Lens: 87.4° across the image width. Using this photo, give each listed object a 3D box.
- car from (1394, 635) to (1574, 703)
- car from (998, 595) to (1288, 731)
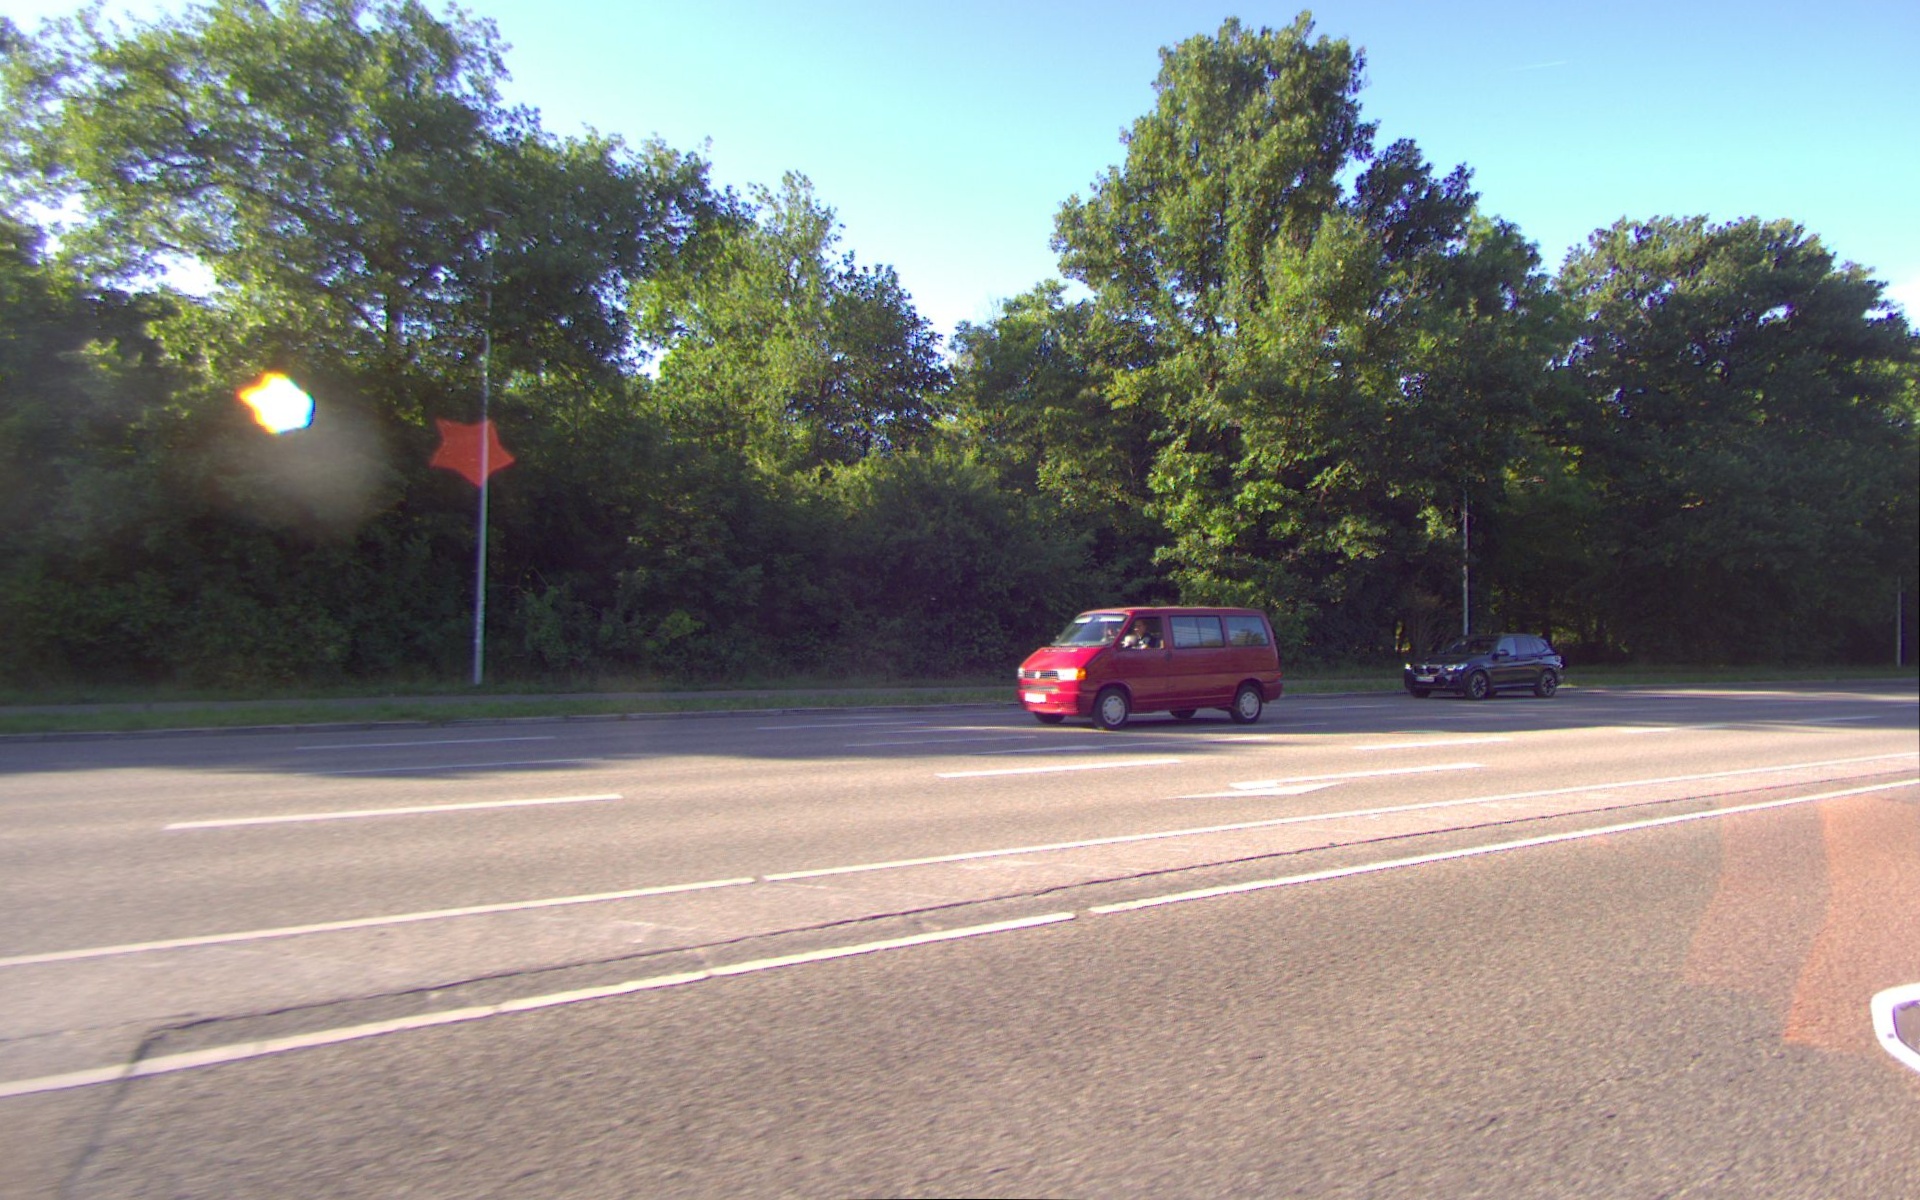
[{"bbox_3d":[13.821,1.764,26.445,4.787,1.658,1.984,2,-2,-30],"label":"car"},{"bbox_3d":[3.080,1.036,16.703,4.594,1.987,1.984,2,-3,-30],"label":"car"}]
